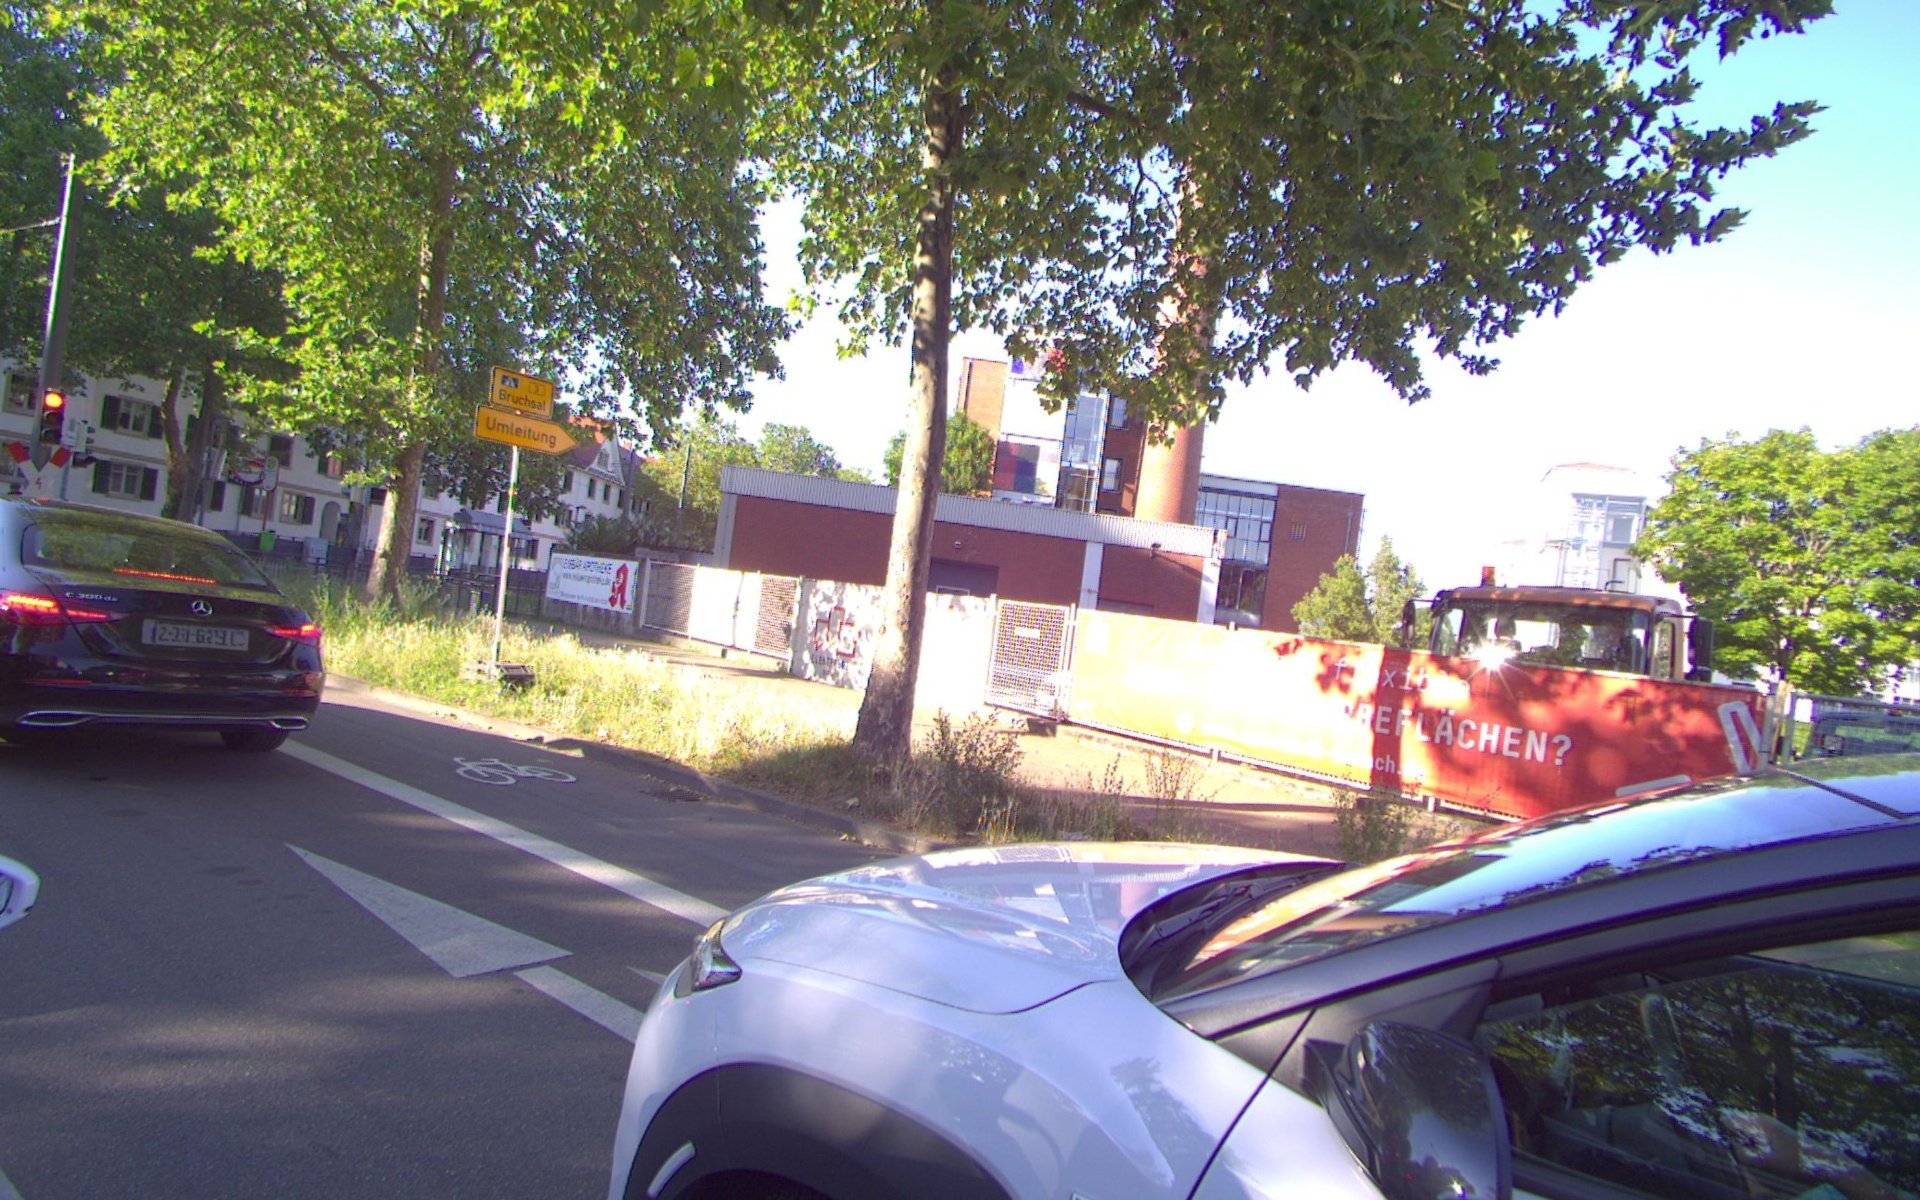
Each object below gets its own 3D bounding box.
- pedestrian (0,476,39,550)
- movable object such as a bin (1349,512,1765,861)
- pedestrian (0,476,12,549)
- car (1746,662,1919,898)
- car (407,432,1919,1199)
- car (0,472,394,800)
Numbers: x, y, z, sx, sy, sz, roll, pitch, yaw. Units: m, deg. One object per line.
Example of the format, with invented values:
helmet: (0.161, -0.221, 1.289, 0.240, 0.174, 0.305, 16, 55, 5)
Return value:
pedestrian: (-26.520, -2.433, 28.135, 0.825, 1.940, 0.707, 7, -1, 28)
movable object such as a bin: (7.645, 1.035, 12.409, 3.172, 3.084, 6.266, 6, -2, 41)
pedestrian: (-26.117, -2.397, 26.915, 0.825, 1.940, 0.707, 7, -1, 28)
car: (9.574, 1.825, 10.152, 2.016, 1.849, 4.583, 6, -3, 44)
car: (1.257, 0.874, 1.402, 3.901, 1.616, 1.893, 9, -1, 33)
car: (-5.933, 0.014, 6.644, 4.309, 1.508, 1.893, 9, -1, 33)
